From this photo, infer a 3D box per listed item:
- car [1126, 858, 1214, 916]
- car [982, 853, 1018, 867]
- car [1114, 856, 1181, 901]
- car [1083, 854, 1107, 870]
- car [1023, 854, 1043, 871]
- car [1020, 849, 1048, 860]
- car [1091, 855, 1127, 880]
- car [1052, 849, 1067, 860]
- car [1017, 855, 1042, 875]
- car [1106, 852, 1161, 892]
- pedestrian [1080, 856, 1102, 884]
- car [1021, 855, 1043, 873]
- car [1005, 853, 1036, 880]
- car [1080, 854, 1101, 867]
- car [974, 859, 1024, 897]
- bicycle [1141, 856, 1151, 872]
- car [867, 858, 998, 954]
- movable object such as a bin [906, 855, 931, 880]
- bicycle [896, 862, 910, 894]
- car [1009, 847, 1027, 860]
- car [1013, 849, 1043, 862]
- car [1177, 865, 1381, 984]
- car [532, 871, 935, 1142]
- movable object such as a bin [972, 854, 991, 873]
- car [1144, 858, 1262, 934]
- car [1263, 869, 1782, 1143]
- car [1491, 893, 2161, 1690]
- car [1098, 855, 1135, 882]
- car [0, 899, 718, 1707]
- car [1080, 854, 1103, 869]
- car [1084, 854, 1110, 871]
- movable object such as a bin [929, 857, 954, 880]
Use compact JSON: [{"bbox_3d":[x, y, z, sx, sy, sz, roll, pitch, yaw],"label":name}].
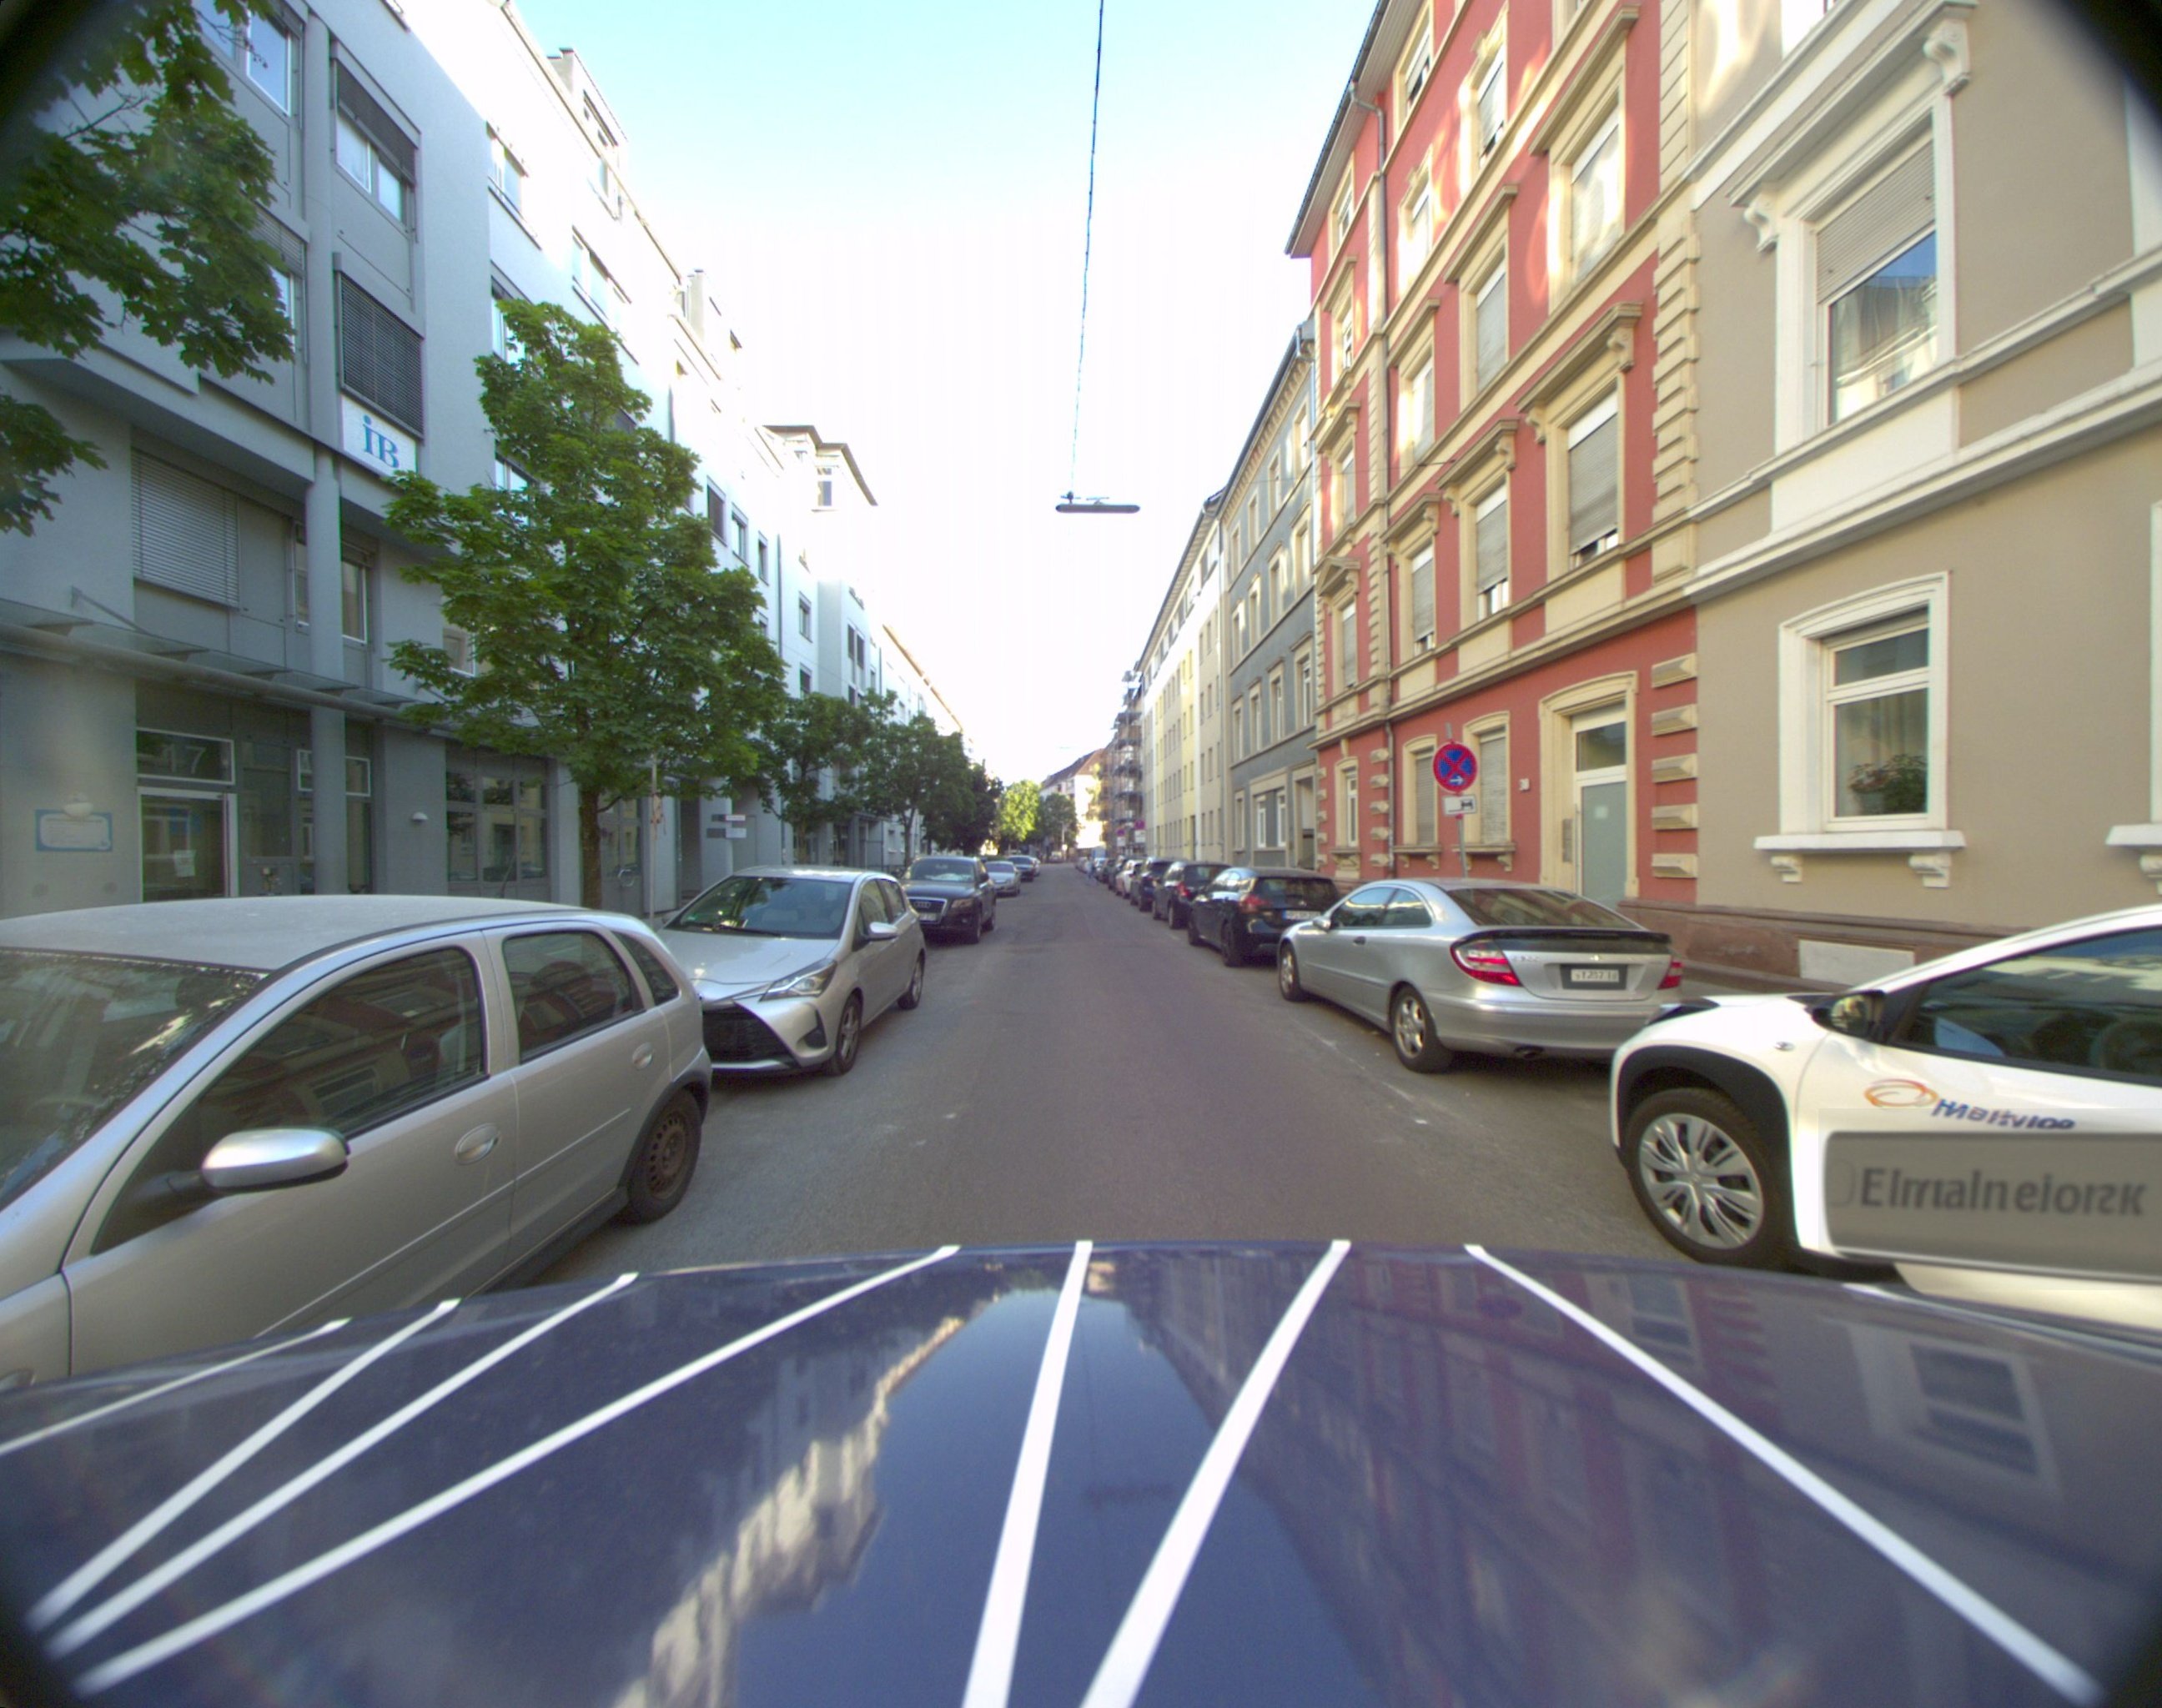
[{"bbox_3d":[2.555,0.909,22.879,1.926,1.551,4.266,1,0,-3],"label":"car"},{"bbox_3d":[-9.292,0.650,87.709,3.998,1.556,1.999,1,1,-4],"label":"car"},{"bbox_3d":[2.428,0.860,28.779,1.926,1.551,4.266,1,0,-3],"label":"car"},{"bbox_3d":[1.308,0.750,73.704,1.999,1.439,3.998,1,0,-3],"label":"car"},{"bbox_3d":[-4.399,0.768,70.407,1.681,1.411,4.134,1,0,-2],"label":"car"},{"bbox_3d":[-7.655,0.128,124.273,4.205,1.760,2.086,1,1,37],"label":"car"},{"bbox_3d":[1.748,0.825,49.064,1.928,1.480,4.616,1,0,-2],"label":"car"},{"bbox_3d":[-3.791,0.049,131.598,2.081,1.760,4.214,1,0,-8],"label":"car"},{"bbox_3d":[-3.995,0.866,59.277,1.680,1.474,3.652,1,0,1],"label":"car"},{"bbox_3d":[2.301,0.759,34.157,1.926,1.654,4.468,1,0,-3],"label":"car"},{"bbox_3d":[0.552,0.842,40.331,0.868,1.455,0.804,1,1,31],"label":"pedestrian"},{"bbox_3d":[-4.154,0.848,64.224,1.681,1.411,4.135,1,0,-2],"label":"car"},{"bbox_3d":[-3.819,0.775,48.674,1.876,1.626,4.720,1,0,-3],"label":"car"},{"bbox_3d":[1.017,0.723,84.436,1.999,1.423,3.998,1,0,-3],"label":"car"},{"bbox_3d":[-3.382,0.967,32.002,1.768,1.420,4.344,1,0,-2],"label":"car"},{"bbox_3d":[4.848,0.735,56.986,0.405,1.162,1.815,-4,1,-4],"label":"bicycle"},{"bbox_3d":[-2.843,0.925,15.531,1.890,1.613,4.433,1,0,-2],"label":"car"},{"bbox_3d":[-9.527,0.792,44.642,1.265,1.428,1.138,0,1,-2],"label":"movable object such as a bin"},{"bbox_3d":[-7.060,0.938,30.177,0.522,1.161,1.738,1,0,-12],"label":"bicycle"},{"bbox_3d":[-11.718,-0.110,140.106,2.163,2.270,6.199,1,0,-15],"label":"car"},{"bbox_3d":[-8.003,0.233,114.845,4.214,1.760,2.082,1,1,1],"label":"car"},{"bbox_3d":[2.870,0.957,12.090,1.926,1.475,4.266,1,0,-3],"label":"car"},{"bbox_3d":[-2.491,0.975,6.592,1.681,1.516,3.970,1,0,0],"label":"car"},{"bbox_3d":[-7.773,0.718,59.392,1.288,1.428,1.223,0,1,-2],"label":"movable object such as a bin"},{"bbox_3d":[2.744,0.900,18.063,1.906,1.551,4.239,1,0,-3],"label":"car"},{"bbox_3d":[3.175,0.963,6.696,1.926,1.551,4.266,1,0,-3],"label":"car"},{"bbox_3d":[3.164,0.967,1.895,1.925,1.498,4.267,1,0,0],"label":"car"},{"bbox_3d":[2.041,0.805,44.215,1.784,1.480,4.419,1,0,-2],"label":"car"},{"bbox_3d":[-2.641,0.972,1.829,1.680,1.467,3.729,1,0,1],"label":"car"},{"bbox_3d":[1.061,0.766,79.014,1.999,1.423,3.998,1,0,-3],"label":"car"},{"bbox_3d":[1.389,0.729,68.876,1.999,1.496,3.998,1,0,-3],"label":"car"},{"bbox_3d":[-8.228,0.853,44.934,1.265,1.313,1.138,0,1,-2],"label":"movable object such as a bin"}]
